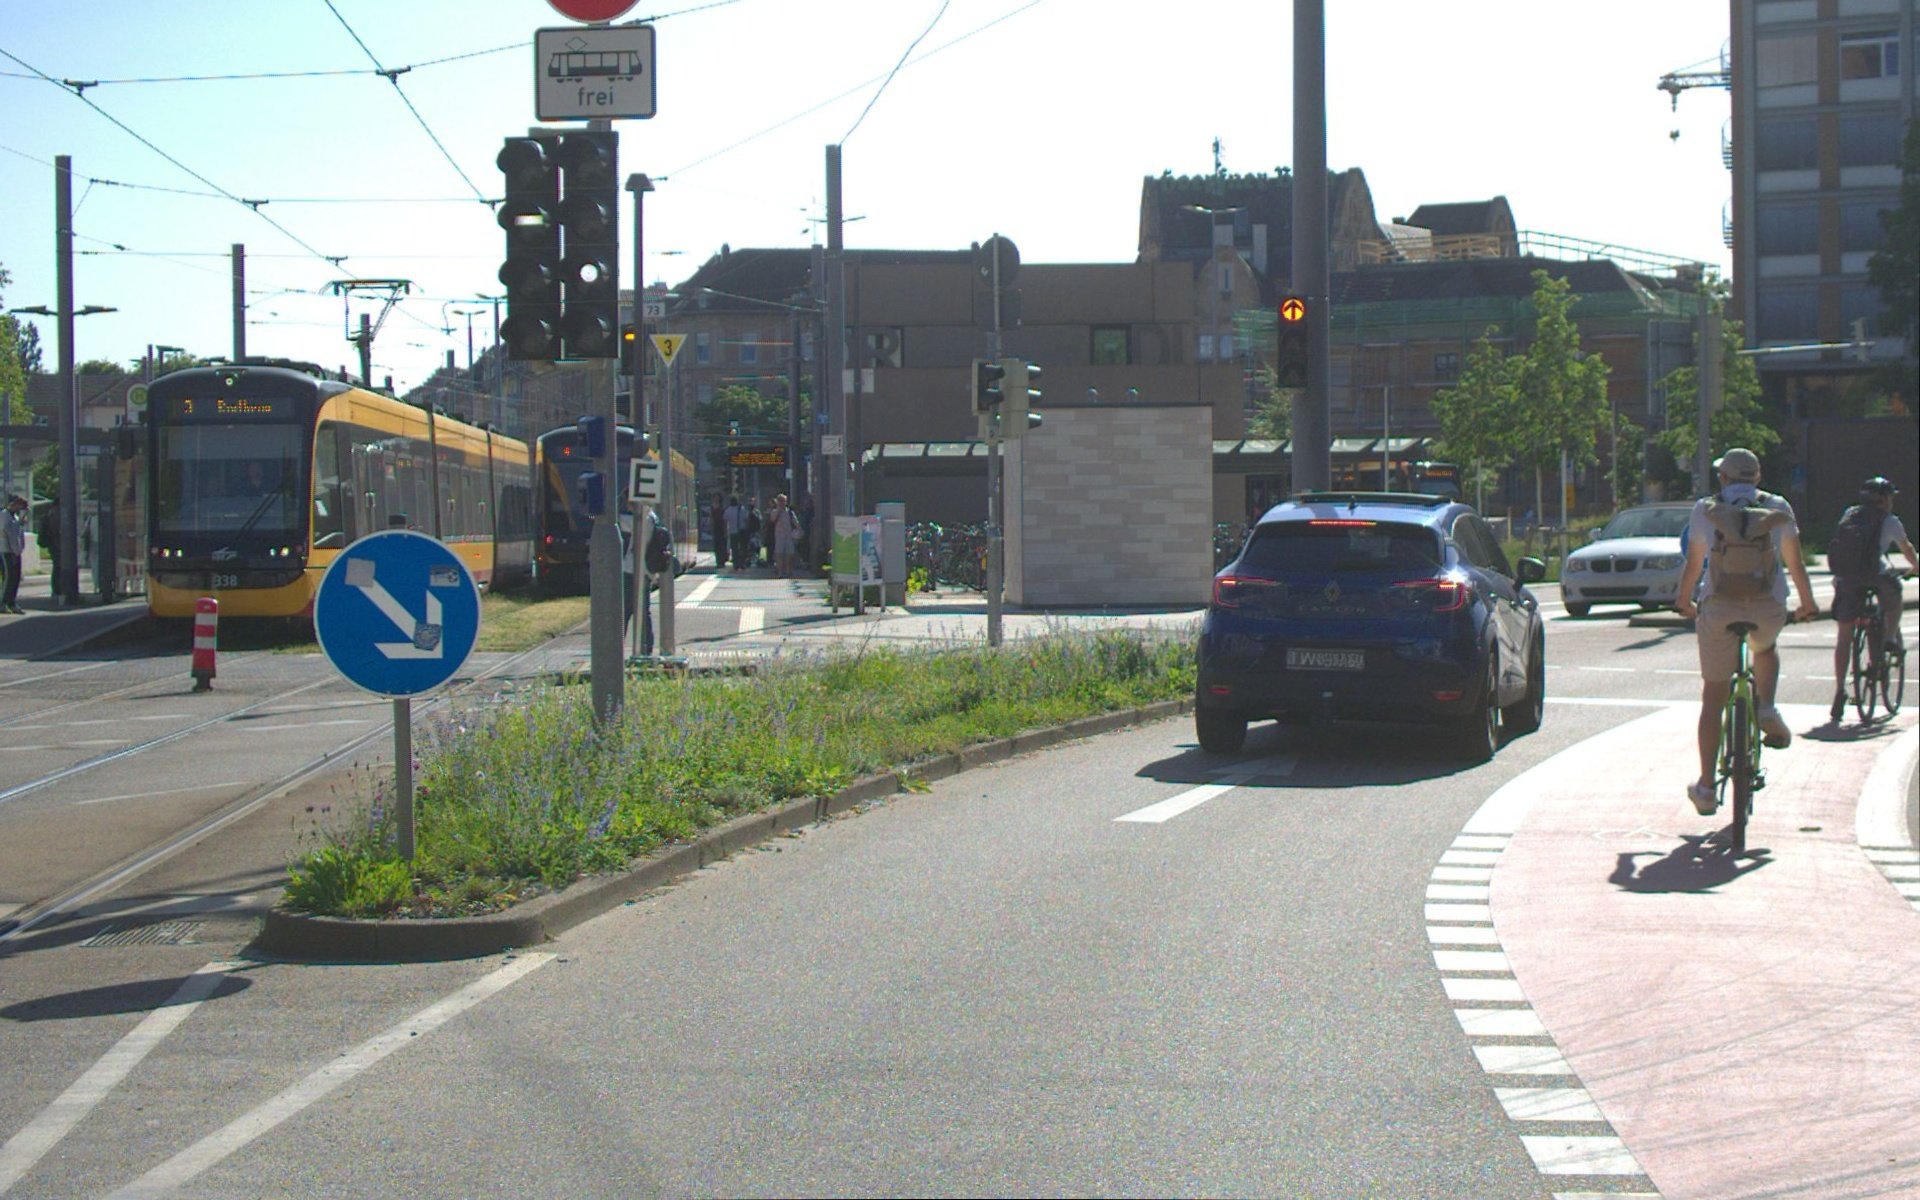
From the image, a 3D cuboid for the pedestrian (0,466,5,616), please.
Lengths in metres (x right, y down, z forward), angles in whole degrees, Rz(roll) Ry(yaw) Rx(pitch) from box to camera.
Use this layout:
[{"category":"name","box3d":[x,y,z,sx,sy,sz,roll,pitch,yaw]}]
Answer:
[{"category":"pedestrian","box3d":[-12.200,-0.704,42.132,0.761,1.844,0.902,-1,4,-5]}]

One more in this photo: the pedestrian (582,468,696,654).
[{"category":"pedestrian","box3d":[-3.224,-0.388,34.517,1.016,1.826,0.761,1,0,-13]}]

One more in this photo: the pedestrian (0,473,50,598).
[{"category":"pedestrian","box3d":[-13.589,-0.922,49.276,0.862,1.761,0.974,-1,2,-24]}]

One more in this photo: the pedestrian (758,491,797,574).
[{"category":"pedestrian","box3d":[-4.195,-1.552,79.070,0.847,1.877,0.761,1,0,-5]}]

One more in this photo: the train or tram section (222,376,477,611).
[{"category":"train or tram section","box3d":[-9.896,-1.740,56.876,2.816,3.496,10.613,0,1,-3]}]

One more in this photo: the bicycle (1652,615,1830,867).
[{"category":"bicycle","box3d":[3.683,0.625,16.117,0.663,1.043,1.889,0,2,17]}]

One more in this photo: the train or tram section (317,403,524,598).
[{"category":"train or tram section","box3d":[-10.450,-1.947,67.729,2.816,3.496,11.212,0,1,-3]}]

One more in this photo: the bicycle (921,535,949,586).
[{"category":"bicycle","box3d":[-0.468,-0.744,64.244,0.421,0.934,1.306,1,1,-5]}]

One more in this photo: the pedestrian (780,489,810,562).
[{"category":"pedestrian","box3d":[-4.202,-1.898,87.557,0.673,1.850,0.703,1,0,2]}]

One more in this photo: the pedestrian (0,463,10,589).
[{"category":"pedestrian","box3d":[-15.783,-1.189,54.773,0.961,2.007,0.999,1,0,3]}]

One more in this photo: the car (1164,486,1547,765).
[{"category":"car","box3d":[2.611,0.093,21.983,1.824,1.594,3.656,1,2,16]}]

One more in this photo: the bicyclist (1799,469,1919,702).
[{"category":"bicyclist","box3d":[6.490,-0.119,24.620,0.722,1.620,1.054,2,2,24]}]

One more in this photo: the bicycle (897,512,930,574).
[{"category":"bicycle","box3d":[-0.835,-1.028,62.558,0.566,1.090,2.029,1,1,0]}]

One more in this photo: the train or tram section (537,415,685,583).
[{"category":"train or tram section","box3d":[-7.699,-2.237,77.000,2.870,3.496,10.545,0,1,-4]}]

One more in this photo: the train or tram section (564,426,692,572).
[{"category":"train or tram section","box3d":[-8.352,-2.545,87.453,2.870,3.496,10.545,0,1,-4]}]

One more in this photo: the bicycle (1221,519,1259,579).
[{"category":"bicycle","box3d":[5.230,-0.947,64.229,0.580,1.084,2.058,1,1,2]}]

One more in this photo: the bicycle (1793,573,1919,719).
[{"category":"bicycle","box3d":[6.579,0.313,24.846,0.723,0.956,1.881,2,2,24]}]

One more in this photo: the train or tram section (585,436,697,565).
[{"category":"train or tram section","box3d":[-9.008,-2.835,97.996,2.870,3.495,10.545,0,2,-4]}]

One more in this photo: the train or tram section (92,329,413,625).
[{"category":"train or tram section","box3d":[-9.283,-1.610,46.317,2.817,3.496,10.481,-1,2,-4]}]

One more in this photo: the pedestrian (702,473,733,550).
[{"category":"pedestrian","box3d":[-6.102,-2.224,86.489,0.740,1.911,0.742,1,0,-4]}]

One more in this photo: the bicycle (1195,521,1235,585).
[{"category":"bicycle","box3d":[4.318,-0.788,58.264,0.580,1.054,1.816,1,1,2]}]

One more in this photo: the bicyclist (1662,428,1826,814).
[{"category":"bicyclist","box3d":[3.680,0.080,16.090,0.664,1.741,1.005,0,2,17]}]

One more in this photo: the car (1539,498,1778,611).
[{"category":"car","box3d":[9.089,-0.614,44.524,1.803,1.388,4.086,0,2,30]}]

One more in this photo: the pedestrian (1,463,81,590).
[{"category":"pedestrian","box3d":[-14.770,-1.177,55.265,0.961,2.007,0.999,1,0,3]}]

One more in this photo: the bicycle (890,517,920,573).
[{"category":"bicycle","box3d":[-1.100,-1.097,69.030,0.566,1.090,2.029,1,1,0]}]

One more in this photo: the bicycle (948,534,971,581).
[{"category":"bicycle","box3d":[-0.016,-0.863,69.268,0.421,0.934,1.379,1,1,-1]}]

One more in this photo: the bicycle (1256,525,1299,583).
[{"category":"bicycle","box3d":[5.387,-0.775,58.441,0.580,0.958,2.058,1,1,2]}]

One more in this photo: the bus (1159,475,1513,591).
[{"category":"bus","box3d":[11.464,-2.069,106.721,2.874,3.384,12.442,0,1,-39]}]

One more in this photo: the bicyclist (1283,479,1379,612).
[{"category":"bicyclist","box3d":[4.675,-0.683,43.273,0.881,1.639,1.059,-1,1,25]}]

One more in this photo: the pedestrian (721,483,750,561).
[{"category":"pedestrian","box3d":[-5.355,-1.858,81.977,0.632,1.850,0.703,1,0,-8]}]
